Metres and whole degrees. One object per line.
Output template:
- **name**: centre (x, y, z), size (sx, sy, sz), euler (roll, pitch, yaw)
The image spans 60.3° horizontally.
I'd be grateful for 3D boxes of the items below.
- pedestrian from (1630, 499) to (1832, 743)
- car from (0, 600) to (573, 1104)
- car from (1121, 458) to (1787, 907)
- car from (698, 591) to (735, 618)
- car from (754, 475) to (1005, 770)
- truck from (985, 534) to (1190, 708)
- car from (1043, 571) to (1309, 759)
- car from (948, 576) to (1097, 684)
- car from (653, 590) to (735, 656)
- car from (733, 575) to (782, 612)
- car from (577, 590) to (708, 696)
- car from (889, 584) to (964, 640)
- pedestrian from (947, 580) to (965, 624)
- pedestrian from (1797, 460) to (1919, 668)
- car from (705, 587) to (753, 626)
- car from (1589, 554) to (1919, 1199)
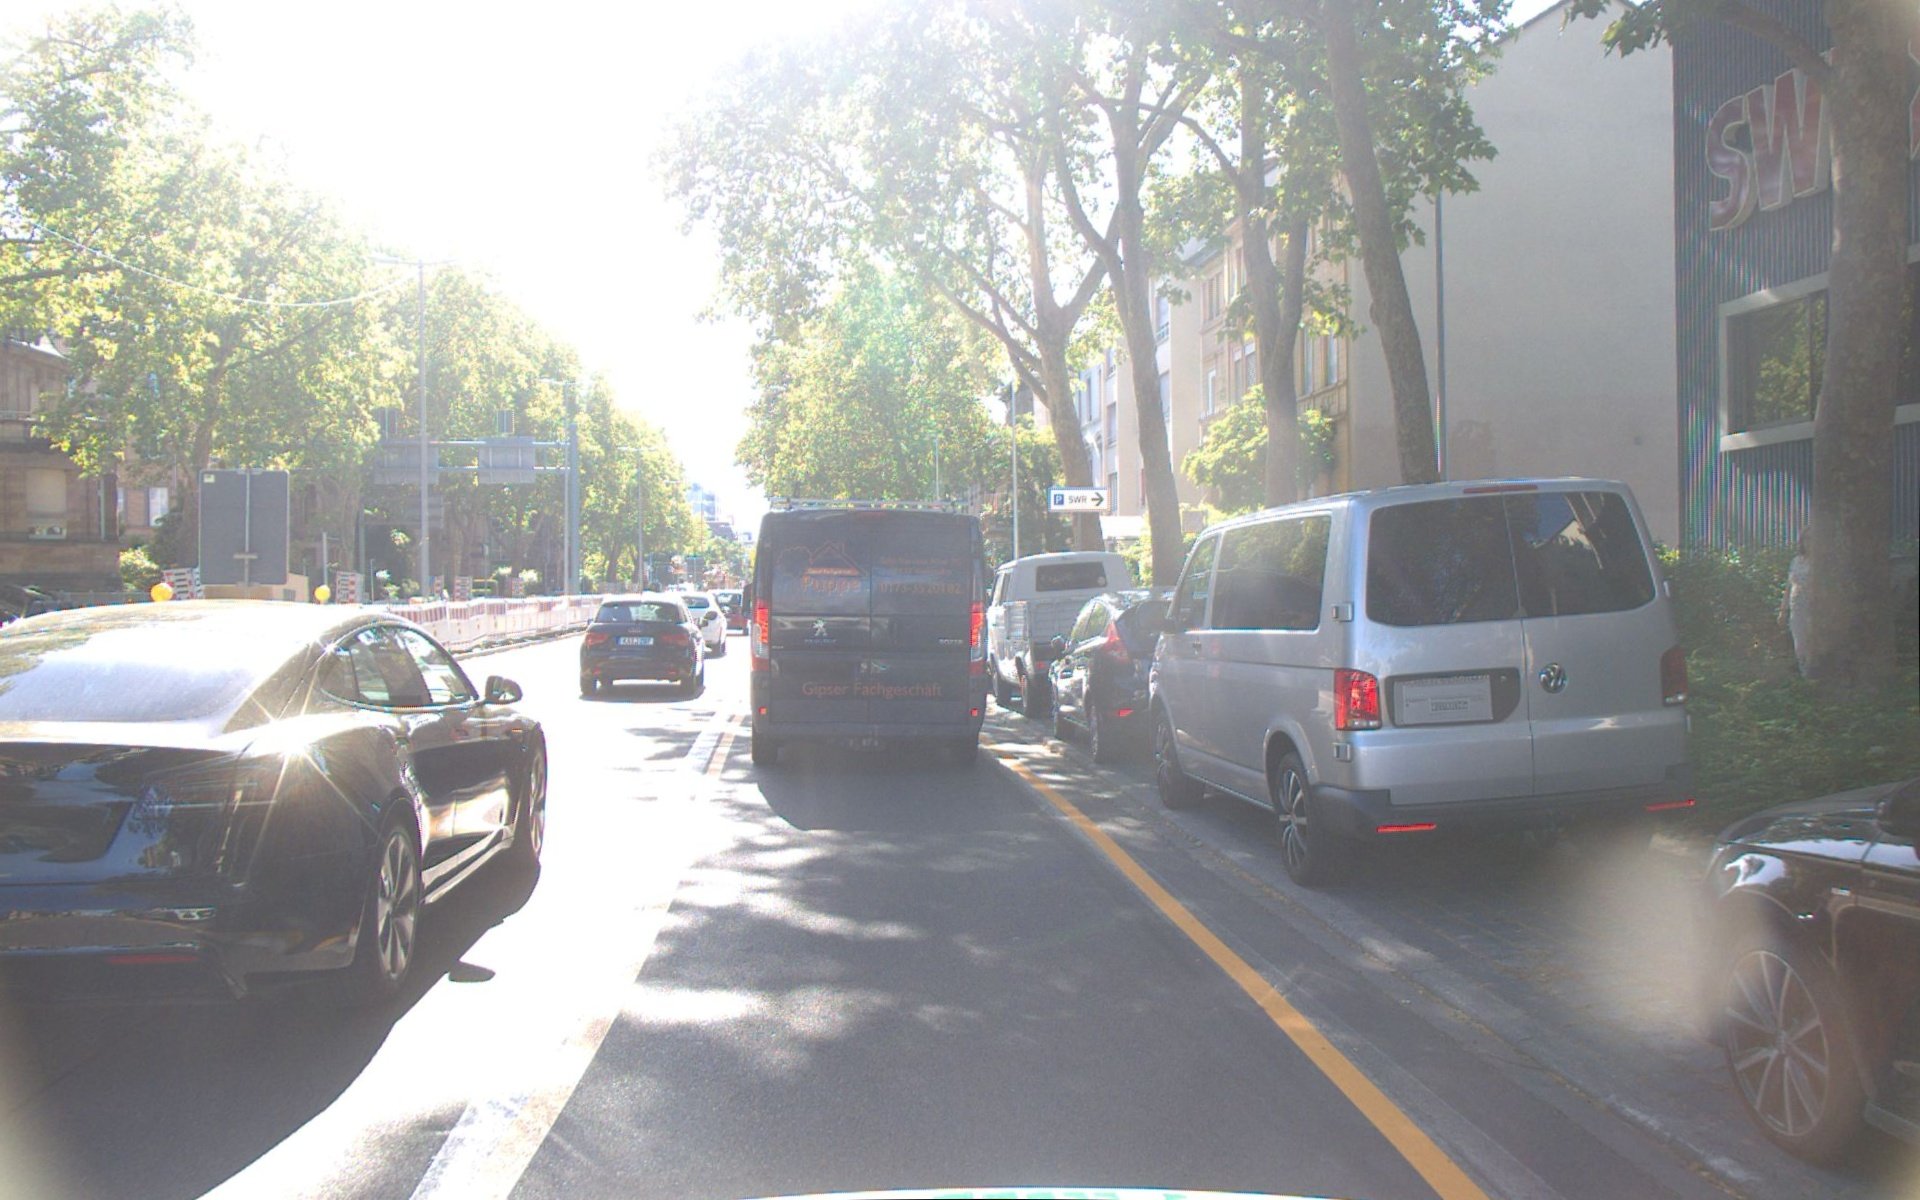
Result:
- **pedestrian**: centre (5.442, 0.133, 11.741), size (0.714, 1.630, 1.265), euler (-1, 0, -8)
- **car**: centre (-3.020, 0.738, 7.135), size (1.887, 1.436, 4.622), euler (0, 0, -4)
- **car**: centre (2.502, 0.342, 10.057), size (1.987, 1.980, 5.266), euler (-1, 0, -6)
- **car**: centre (-14.487, 0.267, 98.614), size (1.954, 1.495, 3.996), euler (1, 1, -5)
- **car**: centre (-0.876, 0.147, 15.501), size (2.055, 2.396, 3.927), euler (0, 1, -7)
- **truck**: centre (1.483, 0.227, 20.935), size (1.840, 1.914, 4.449), euler (-2, 0, -5)
- **car**: centre (1.900, 0.525, 15.767), size (1.713, 1.503, 4.098), euler (-1, 0, -4)
- **car**: centre (0.908, 0.430, 26.621), size (1.786, 1.534, 4.672), euler (-2, 0, -5)
- **car**: centre (-6.225, 0.521, 38.992), size (1.517, 1.450, 3.553), euler (-1, 0, -3)
- **car**: centre (-9.237, -0.281, 75.810), size (1.954, 1.616, 3.997), euler (-1, 0, -3)
- **car**: centre (-4.763, 0.595, 25.233), size (1.713, 1.432, 3.994), euler (1, 1, -7)
- **car**: centre (-0.995, 0.314, 47.376), size (1.808, 1.467, 4.482), euler (-1, 0, -5)
- **pedestrian**: centre (-0.171, 0.079, 77.417), size (0.782, 2.049, 1.168), euler (-1, 0, -1)
- **pedestrian**: centre (7.556, -0.307, 13.793), size (0.692, 1.677, 0.674), euler (2, 3, -9)
- **car**: centre (-7.765, 0.201, 55.735), size (1.393, 1.246, 3.434), euler (-1, 0, -5)
- **car**: centre (3.052, 0.683, 3.398), size (1.625, 1.567, 4.123), euler (0, 0, -6)
